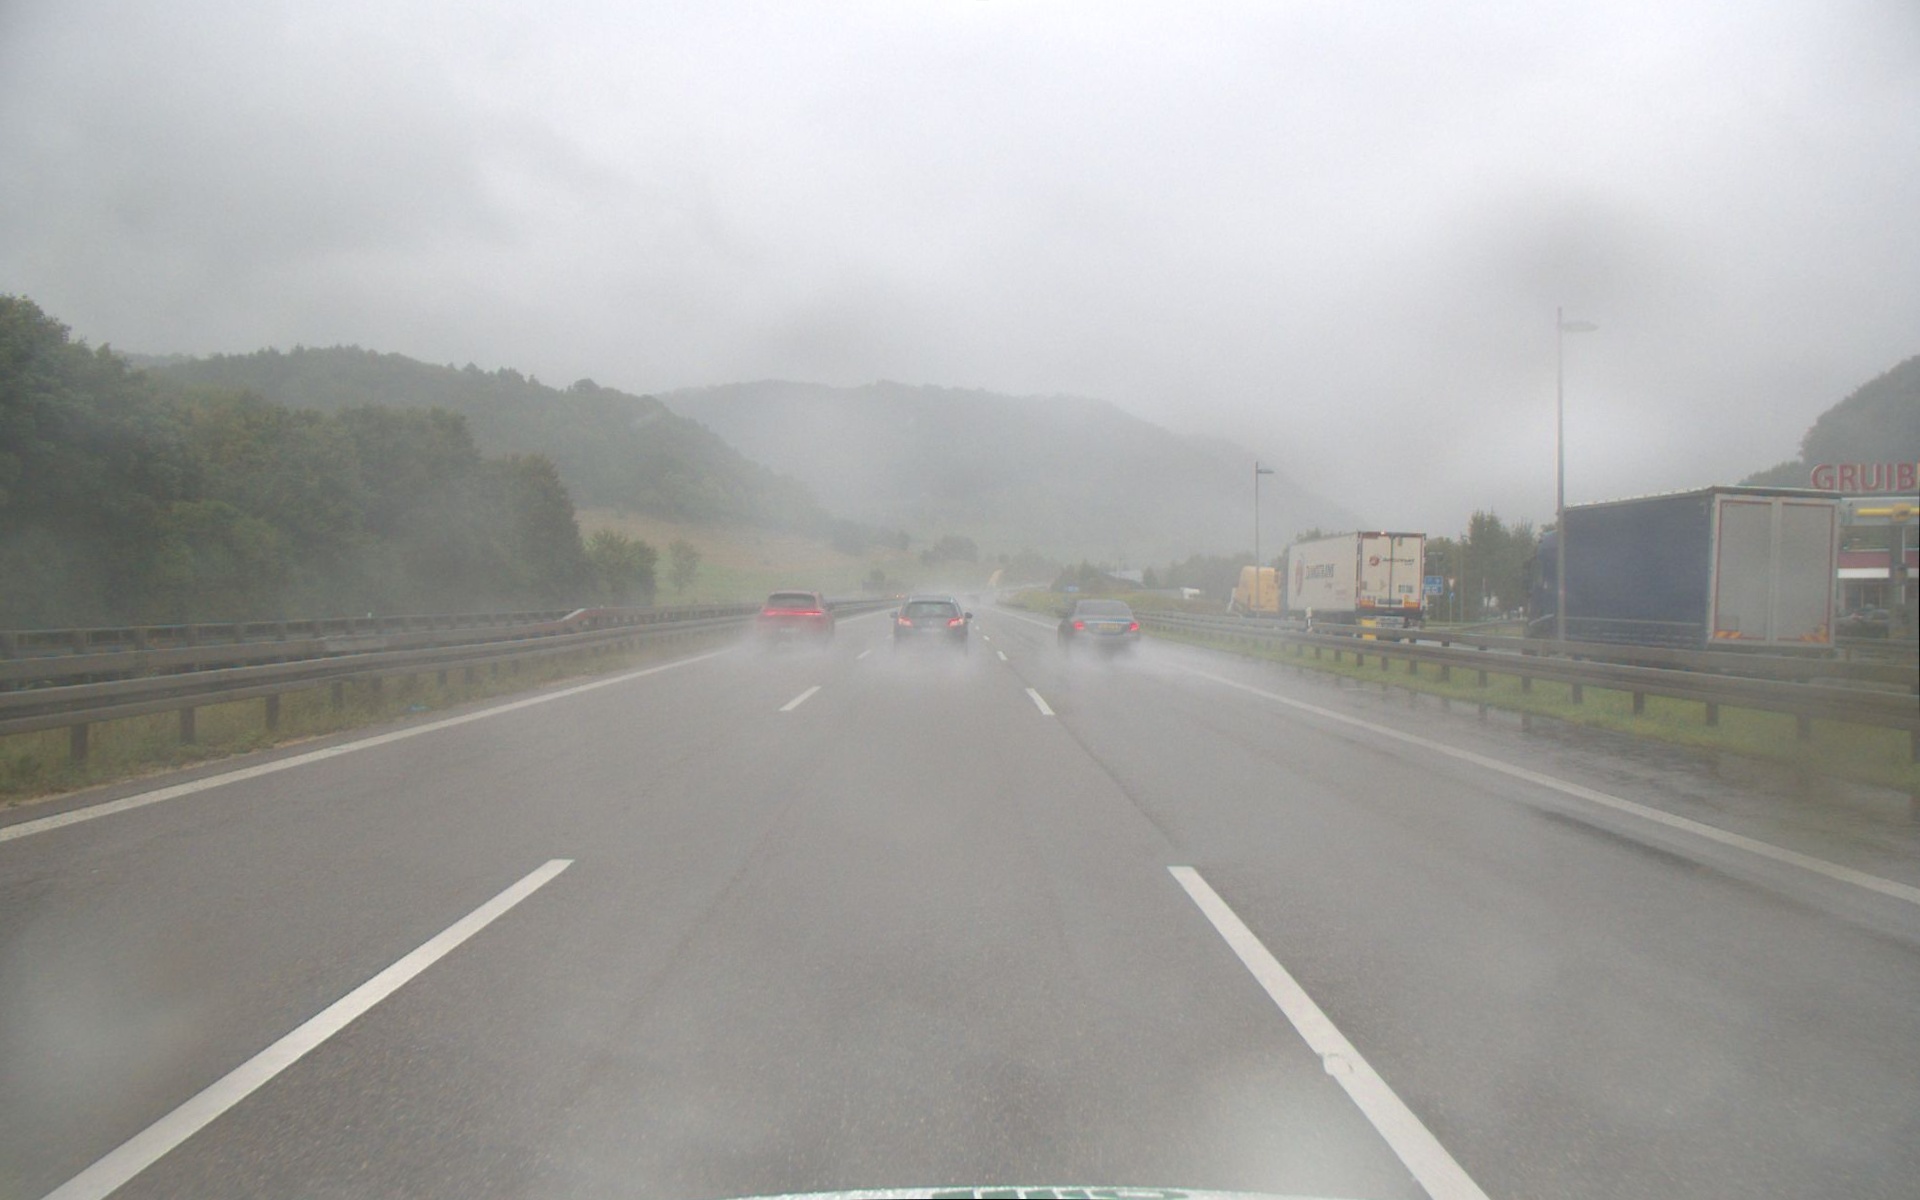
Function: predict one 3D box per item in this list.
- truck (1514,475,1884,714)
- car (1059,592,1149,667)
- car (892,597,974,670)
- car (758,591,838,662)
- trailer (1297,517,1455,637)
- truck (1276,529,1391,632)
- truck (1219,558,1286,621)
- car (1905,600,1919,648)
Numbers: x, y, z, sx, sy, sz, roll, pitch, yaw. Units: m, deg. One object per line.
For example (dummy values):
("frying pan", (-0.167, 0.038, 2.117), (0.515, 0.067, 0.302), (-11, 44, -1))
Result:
("truck", (16.052, -0.141, 37.294), (3.331, 4.479, 11.049), (2, 0, 0))
("car", (3.583, 0.692, 41.686), (1.931, 1.791, 4.000), (0, 0, 0))
("car", (-0.600, 0.760, 39.457), (1.821, 1.617, 4.000), (1, 0, 0))
("car", (-4.381, 0.680, 45.274), (1.846, 1.847, 3.999), (0, 0, -1))
("trailer", (16.470, -0.821, 66.641), (3.444, 4.336, 11.921), (1, 0, 1))
("truck", (16.568, -0.799, 73.944), (3.454, 4.293, 7.817), (1, 0, 1))
("truck", (15.766, -0.555, 89.698), (2.243, 3.202, 8.865), (1, 0, 2))
("car", (41.410, 1.032, 68.737), (1.920, 2.049, 3.999), (1, 0, 0))
